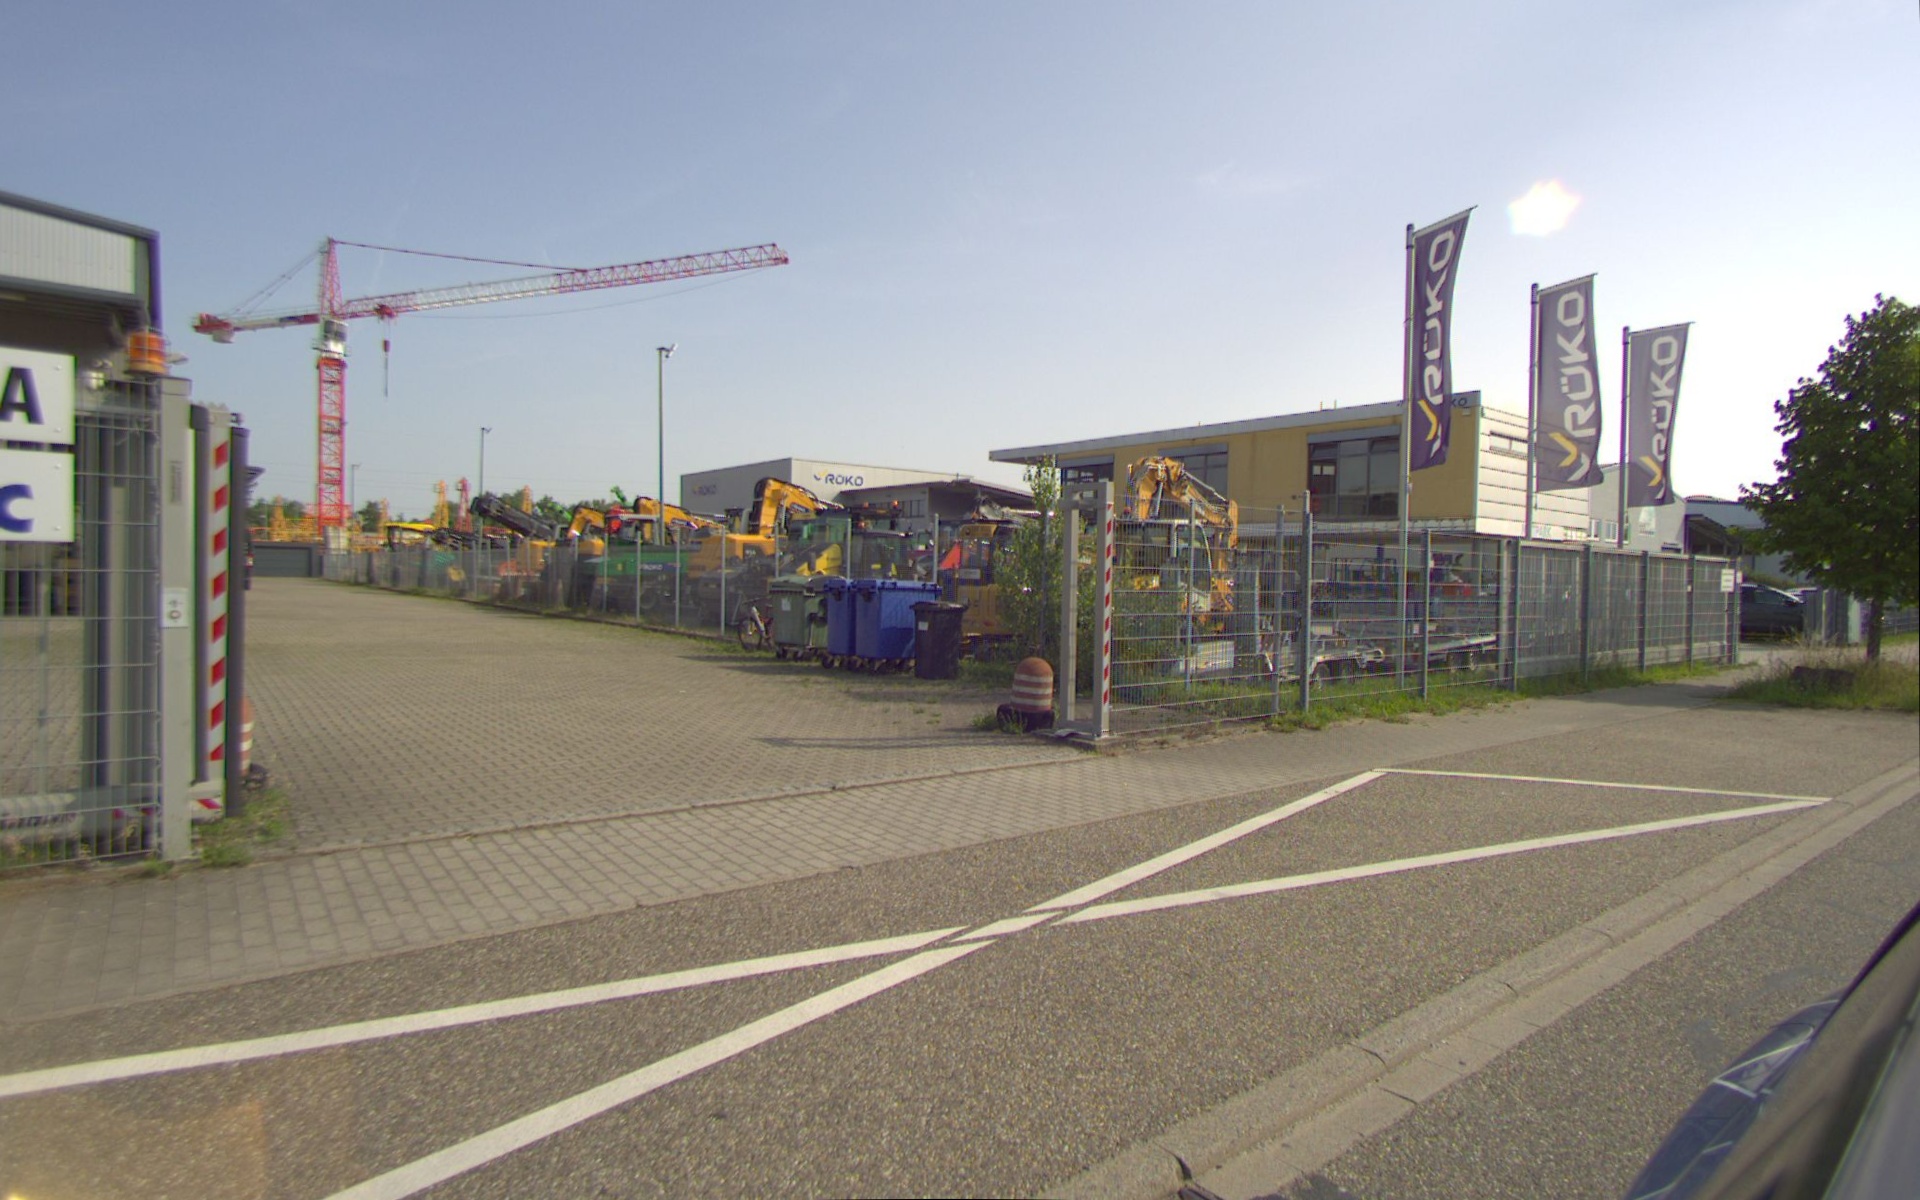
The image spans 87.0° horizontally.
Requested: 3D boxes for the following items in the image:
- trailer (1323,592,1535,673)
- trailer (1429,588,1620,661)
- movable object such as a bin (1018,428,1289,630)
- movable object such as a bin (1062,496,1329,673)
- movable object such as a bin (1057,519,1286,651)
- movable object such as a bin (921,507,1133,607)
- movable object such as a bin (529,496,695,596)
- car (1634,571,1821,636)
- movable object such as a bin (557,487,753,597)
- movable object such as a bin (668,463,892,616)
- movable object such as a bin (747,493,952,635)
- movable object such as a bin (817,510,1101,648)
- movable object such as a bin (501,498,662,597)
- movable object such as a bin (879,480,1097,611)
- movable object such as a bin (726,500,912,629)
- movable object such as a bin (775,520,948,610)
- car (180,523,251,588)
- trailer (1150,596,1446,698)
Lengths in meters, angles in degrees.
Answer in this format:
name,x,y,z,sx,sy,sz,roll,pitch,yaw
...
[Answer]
name,x,y,z,sx,sy,sz,roll,pitch,yaw
trailer,8.736,0.520,18.716,4.217,1.259,1.949,0,2,-40
trailer,12.263,0.455,21.889,4.480,1.327,1.999,-1,2,-38
movable object such as a bin,5.540,-1.765,28.166,7.537,4.866,3.323,0,2,-40
movable object such as a bin,4.365,-0.284,18.301,5.065,2.786,1.892,0,2,-38
movable object such as a bin,4.479,-0.323,21.187,4.673,2.489,2.000,0,2,-35
movable object such as a bin,2.127,-1.223,30.731,6.236,2.749,2.706,0,2,-40
movable object such as a bin,-14.306,-2.162,41.847,6.038,3.827,2.455,-1,3,-42
car,22.805,0.047,30.156,4.227,1.759,1.869,2,2,45
movable object such as a bin,-11.936,-2.197,40.053,7.080,3.977,2.470,-1,3,-42
movable object such as a bin,-5.025,-1.600,28.657,5.613,3.921,2.691,0,2,-38
movable object such as a bin,-2.560,-0.824,24.001,4.410,3.069,1.998,0,2,-38
movable object such as a bin,0.027,-0.447,21.255,5.240,2.522,2.931,0,2,-37
movable object such as a bin,-16.261,-2.213,43.686,6.038,3.977,2.455,-1,3,-42
movable object such as a bin,1.062,-1.694,34.056,7.079,3.977,2.925,0,2,-40
movable object such as a bin,-3.601,-0.890,26.152,4.293,3.069,1.998,0,2,-38
movable object such as a bin,-3.257,-1.119,34.223,5.589,2.803,2.059,0,2,-40
car,-30.759,-1.824,41.755,2.184,2.420,4.703,3,0,-38
trailer,5.269,0.602,15.464,4.710,1.259,2.131,0,2,-40
